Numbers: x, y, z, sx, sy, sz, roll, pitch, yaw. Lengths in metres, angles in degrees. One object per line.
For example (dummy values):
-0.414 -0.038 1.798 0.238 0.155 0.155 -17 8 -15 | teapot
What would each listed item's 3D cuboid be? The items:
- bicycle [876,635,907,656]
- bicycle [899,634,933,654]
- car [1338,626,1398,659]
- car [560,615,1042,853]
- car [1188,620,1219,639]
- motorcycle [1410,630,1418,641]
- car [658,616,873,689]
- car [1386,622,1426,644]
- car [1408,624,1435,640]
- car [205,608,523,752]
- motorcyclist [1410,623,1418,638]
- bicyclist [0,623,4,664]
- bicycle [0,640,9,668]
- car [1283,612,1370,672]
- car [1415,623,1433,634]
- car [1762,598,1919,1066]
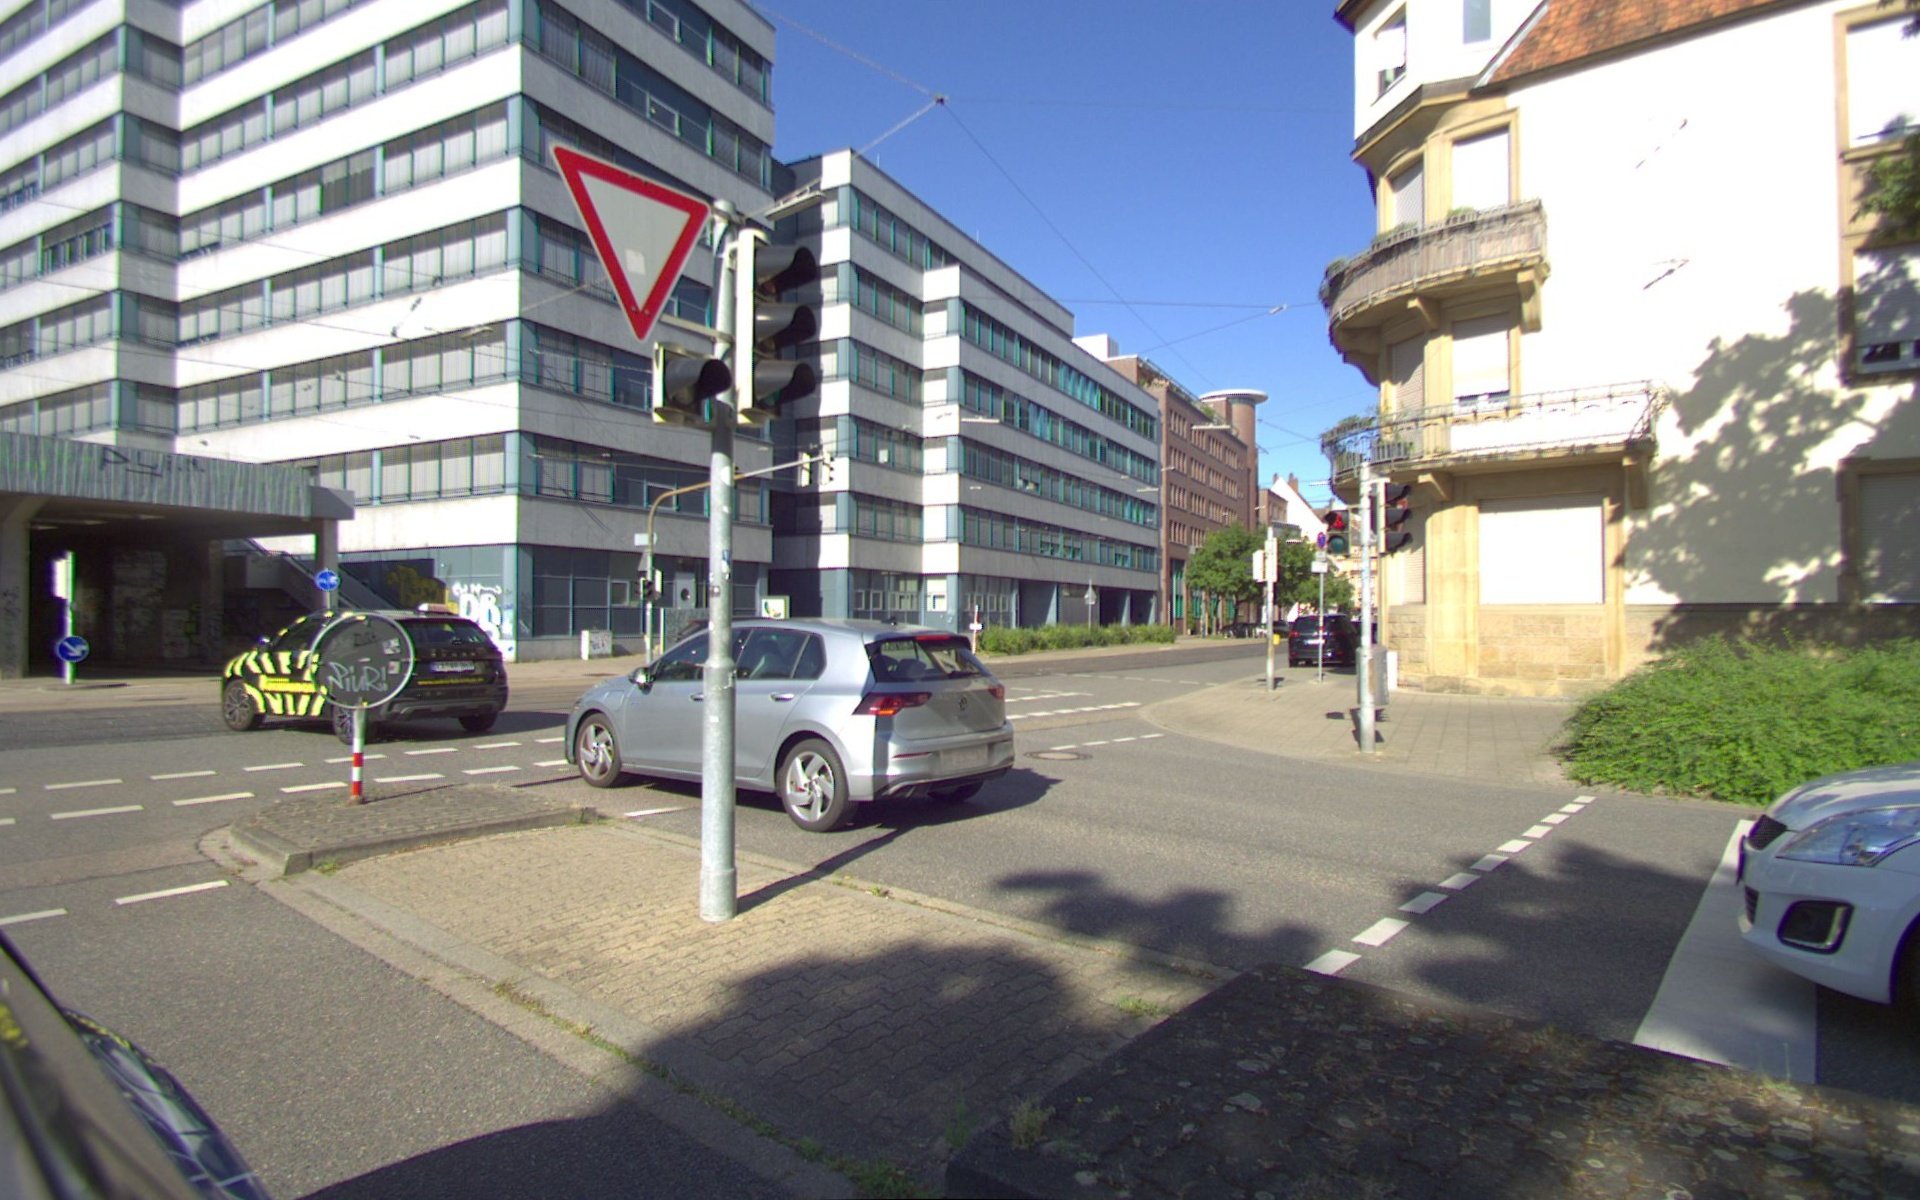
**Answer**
-3.506 2.308 51.610 1.663 0.988 0.481 -1 -1 37 | bicycle
-2.296 2.276 52.505 1.896 0.988 0.481 -1 -1 38 | bicycle
18.533 1.911 45.904 1.992 1.373 3.802 -2 -2 30 | car
-1.405 0.872 8.201 3.845 1.463 1.692 0 -1 38 | car
22.107 2.656 91.714 1.773 1.614 3.961 -1 -2 29 | car
57.456 4.485 128.121 0.912 1.242 2.740 -1 -2 24 | motorcycle
-4.209 1.107 21.977 4.251 1.462 1.812 1 -2 -26 | car
29.133 2.157 66.035 1.956 1.373 3.802 -2 -2 30 | car
40.792 2.816 89.442 1.796 1.373 3.675 -2 -2 30 | car
-7.472 0.899 12.589 4.104 1.525 1.774 -1 -2 33 | car
57.484 3.870 128.152 0.937 1.884 1.047 -1 -2 24 | motorcyclist
-39.120 1.747 40.790 0.906 1.645 0.602 -1 -2 28 | bicyclist
-39.073 2.175 40.776 1.851 1.098 0.522 -1 -2 29 | bicycle
11.548 1.273 31.716 1.954 1.737 4.132 0 -1 29 | car
59.161 3.628 129.057 1.796 1.373 3.675 -2 -2 30 | car
4.853 0.767 2.954 3.860 1.524 1.687 -1 -4 41 | car
